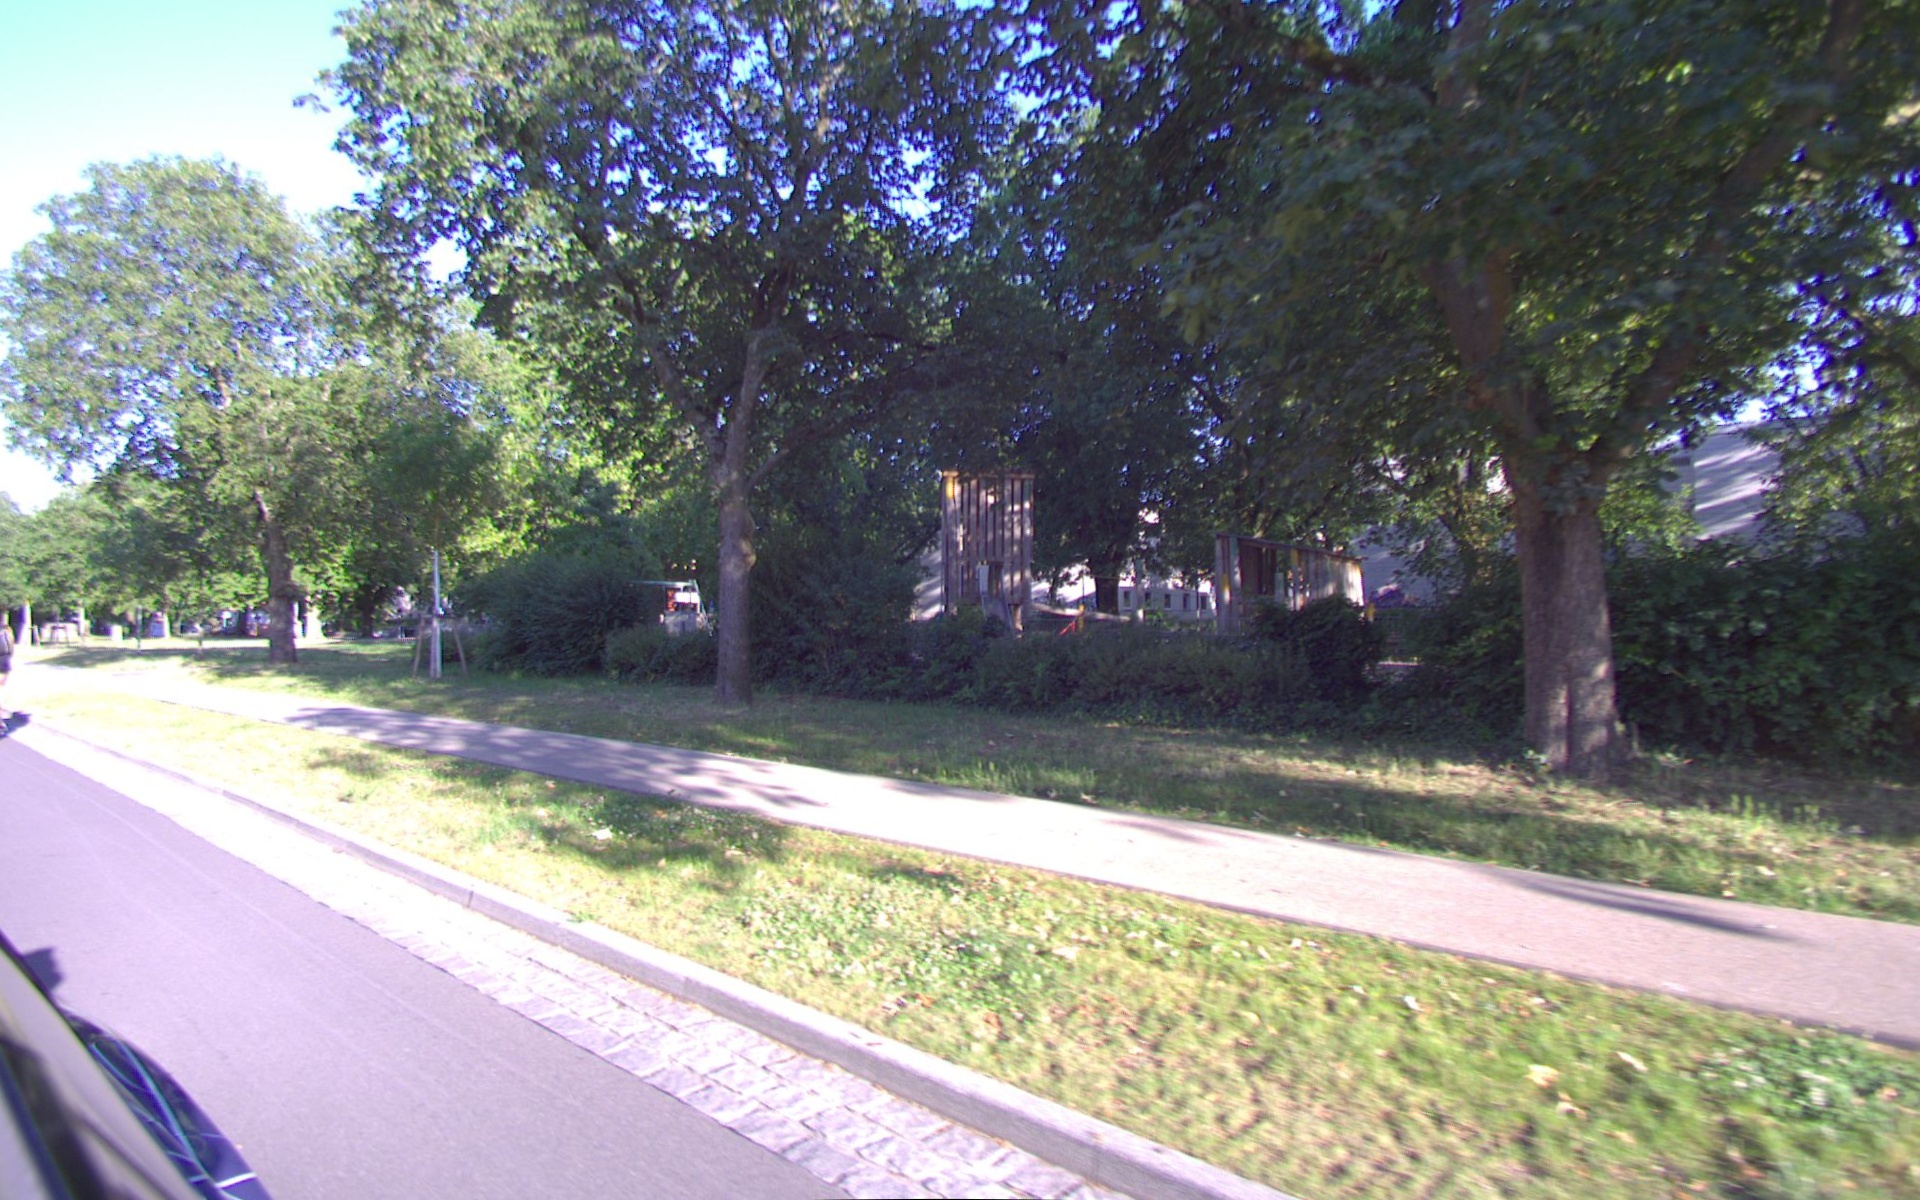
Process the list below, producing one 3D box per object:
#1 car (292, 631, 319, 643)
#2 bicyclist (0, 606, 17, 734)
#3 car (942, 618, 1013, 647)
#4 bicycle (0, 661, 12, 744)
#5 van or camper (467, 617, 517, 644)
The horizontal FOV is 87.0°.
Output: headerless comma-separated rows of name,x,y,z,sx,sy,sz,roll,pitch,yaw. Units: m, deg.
car,-82.921,4.701,128.226,3.997,1.475,1.774,-2,-1,41
bicyclist,-13.213,0.926,13.563,1.172,1.685,0.674,-1,-2,41
car,0.930,1.707,53.980,3.663,1.475,1.583,-2,-1,43
bicycle,-13.259,1.345,13.581,1.914,1.039,0.550,-1,-2,41
van or camper,-43.134,2.841,93.180,5.461,2.458,1.973,-2,-4,40
